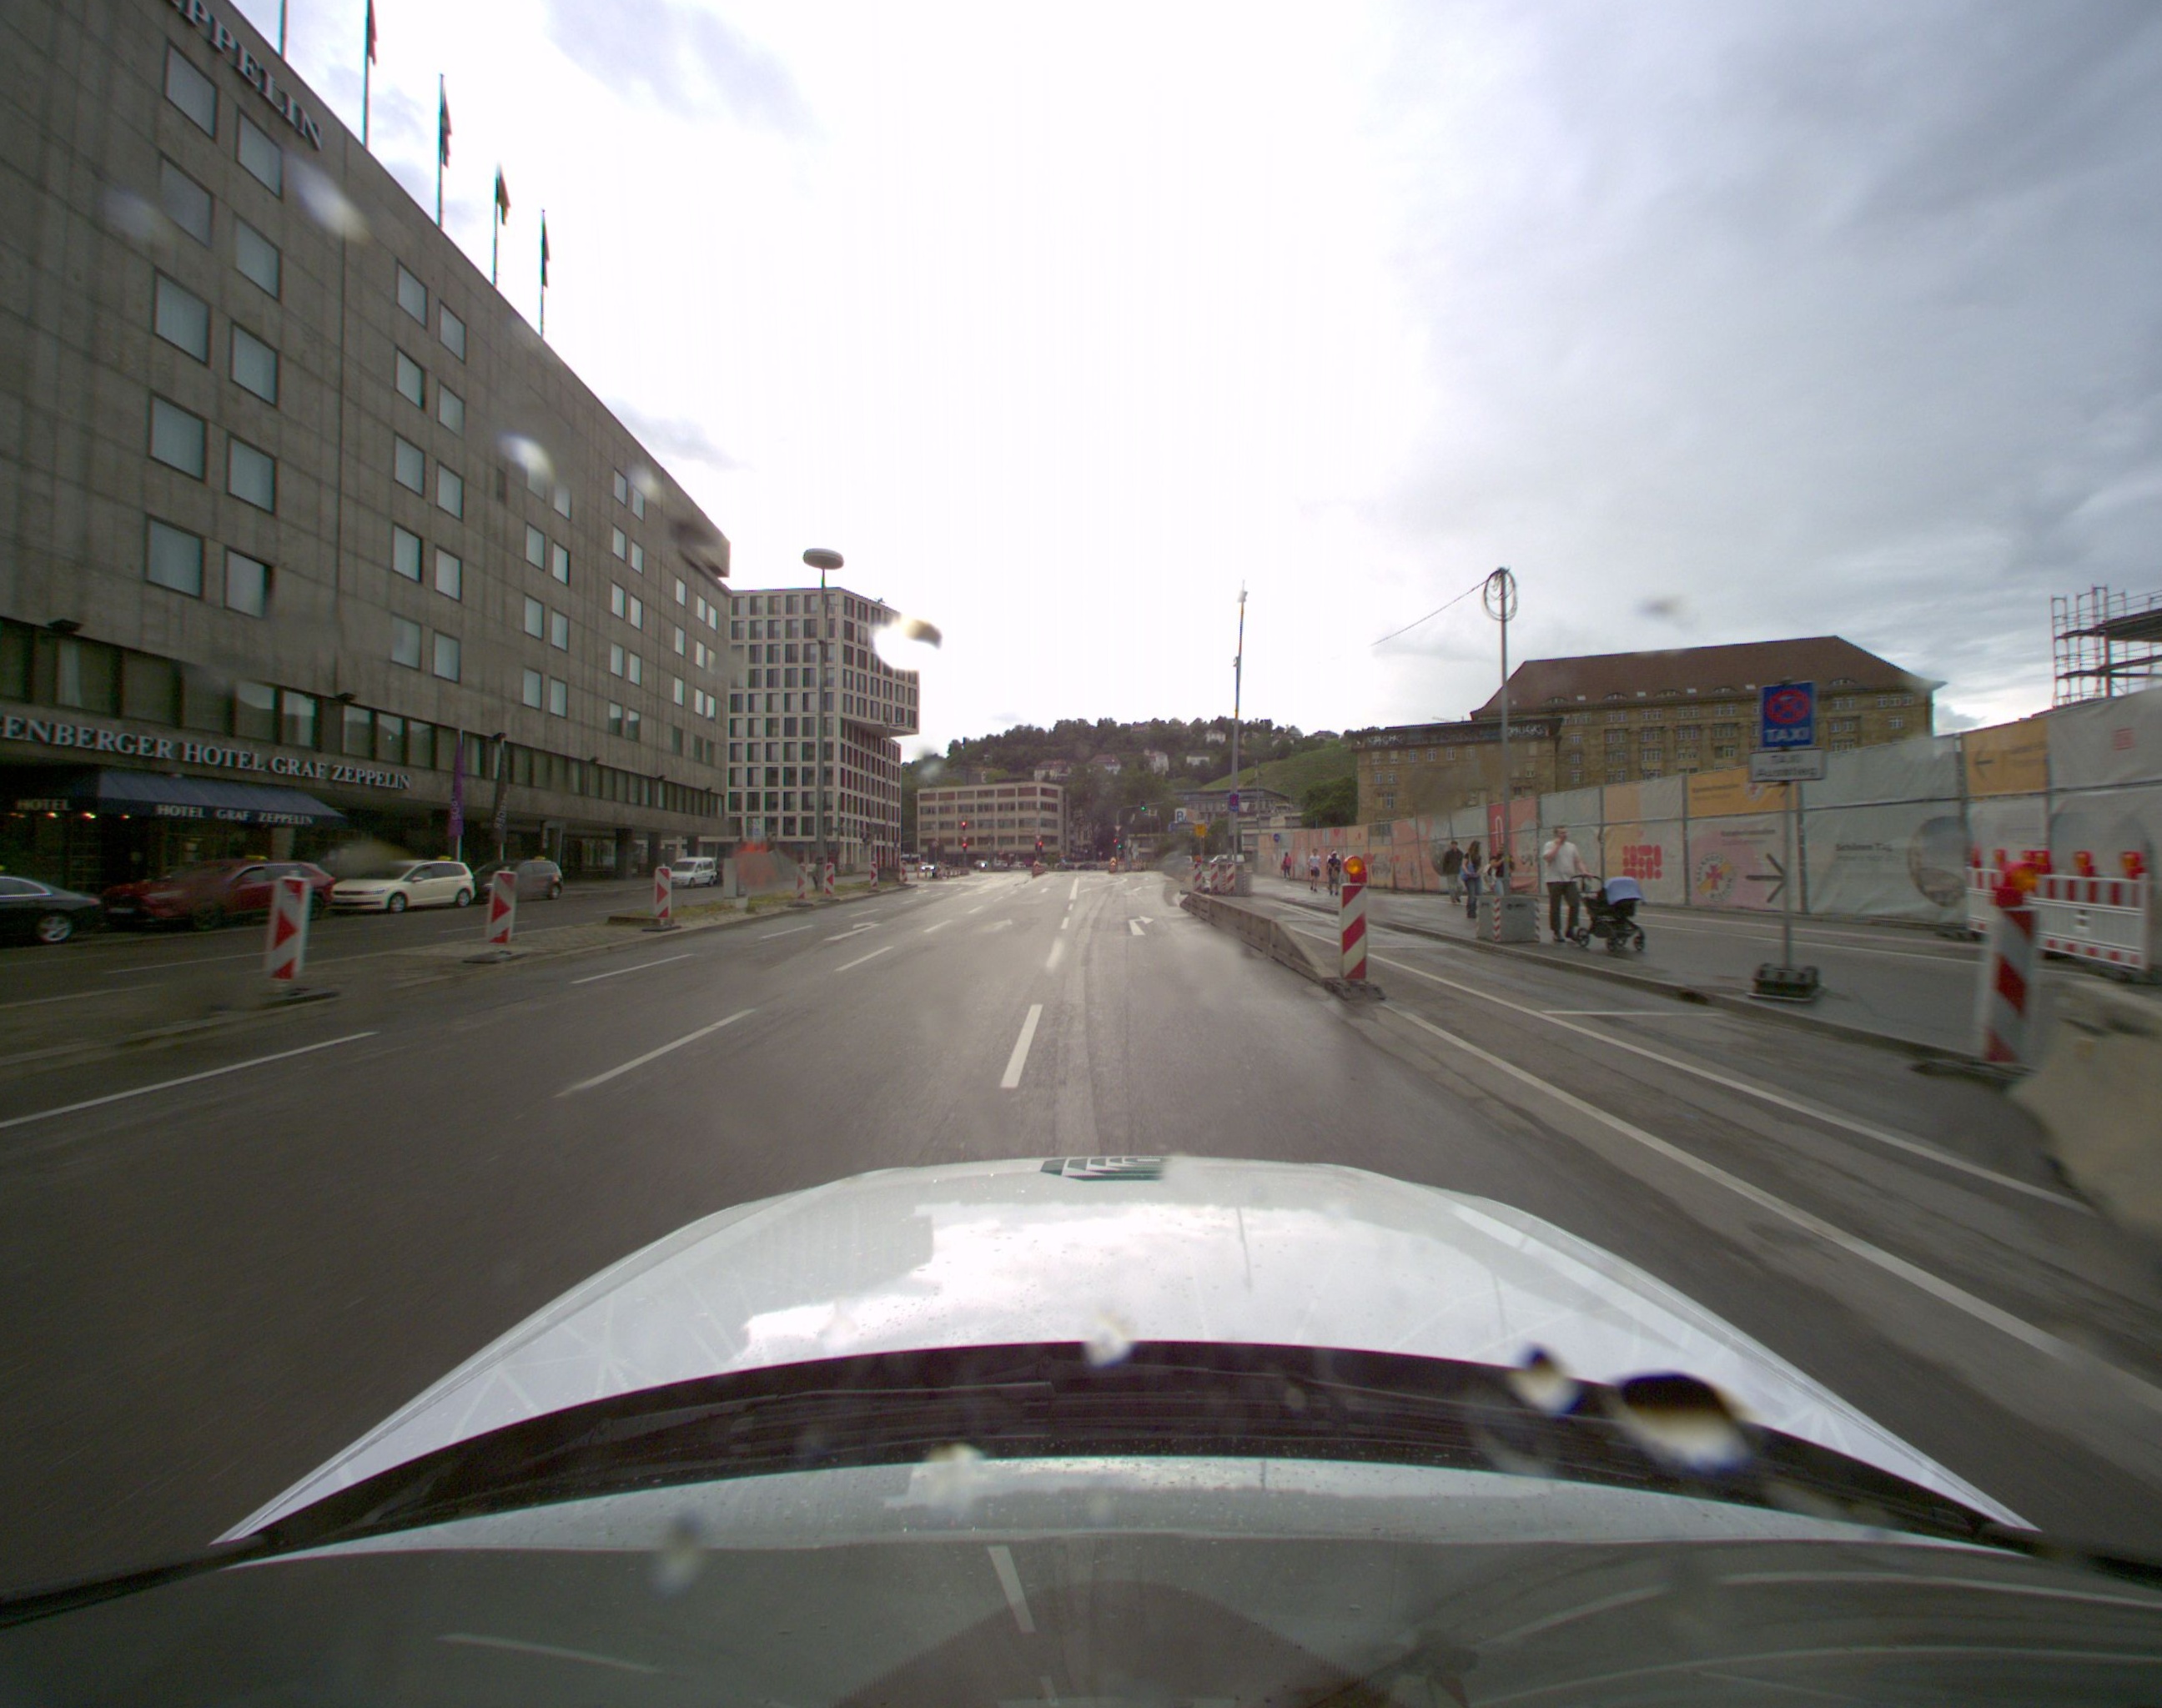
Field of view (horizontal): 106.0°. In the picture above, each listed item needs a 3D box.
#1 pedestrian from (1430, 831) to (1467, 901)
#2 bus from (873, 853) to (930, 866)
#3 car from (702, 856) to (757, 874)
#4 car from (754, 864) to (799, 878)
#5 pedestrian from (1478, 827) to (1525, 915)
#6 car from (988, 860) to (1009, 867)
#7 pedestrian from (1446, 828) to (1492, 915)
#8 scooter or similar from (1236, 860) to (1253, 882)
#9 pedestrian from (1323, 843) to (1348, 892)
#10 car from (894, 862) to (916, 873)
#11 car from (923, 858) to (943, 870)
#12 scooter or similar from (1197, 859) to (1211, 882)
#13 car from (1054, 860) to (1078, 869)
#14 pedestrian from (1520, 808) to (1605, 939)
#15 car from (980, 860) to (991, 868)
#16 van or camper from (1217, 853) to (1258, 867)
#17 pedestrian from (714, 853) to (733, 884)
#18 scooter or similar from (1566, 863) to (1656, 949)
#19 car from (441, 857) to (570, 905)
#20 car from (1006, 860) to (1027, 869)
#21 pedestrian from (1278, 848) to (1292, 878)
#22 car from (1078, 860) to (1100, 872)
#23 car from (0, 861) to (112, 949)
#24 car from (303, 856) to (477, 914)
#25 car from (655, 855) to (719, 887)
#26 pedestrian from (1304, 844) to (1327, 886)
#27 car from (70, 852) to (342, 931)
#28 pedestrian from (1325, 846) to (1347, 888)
[{"bbox_3d":[10.030,0.322,22.231,0.681,1.889,0.693,0,0,-1],"label":"pedestrian"},{"bbox_3d":[-39.255,1.285,177.871,13.796,2.750,3.232,-1,0,31],"label":"bus"},{"bbox_3d":[-38.323,1.169,88.850,5.041,1.904,2.092,-1,0,7],"label":"car"},{"bbox_3d":[-36.794,2.097,98.496,4.620,1.598,2.023,-1,0,9],"label":"car"},{"bbox_3d":[9.255,0.367,17.956,0.681,1.889,0.694,0,0,2],"label":"pedestrian"},{"bbox_3d":[-16.693,1.917,163.921,4.025,1.492,1.747,-1,0,35],"label":"car"},{"bbox_3d":[8.524,0.379,17.918,0.681,1.889,0.694,0,0,2],"label":"pedestrian"},{"bbox_3d":[9.055,0.912,45.087,0.467,1.183,1.411,0,0,-8],"label":"scooter or similar"},{"bbox_3d":[9.276,0.479,29.726,0.640,1.740,0.837,0,0,0],"label":"pedestrian"},{"bbox_3d":[-31.927,2.420,147.972,3.949,1.816,1.817,-1,0,40],"label":"car"},{"bbox_3d":[-22.831,1.492,125.745,2.215,1.753,4.811,-1,-1,0],"label":"car"},{"bbox_3d":[6.535,0.874,43.439,0.671,1.214,1.574,0,0,6],"label":"scooter or similar"},{"bbox_3d":[-2.743,1.915,144.427,4.025,1.492,1.747,-1,0,37],"label":"car"},{"bbox_3d":[7.699,0.308,13.072,0.799,2.016,0.972,0,0,3],"label":"pedestrian"},{"bbox_3d":[-17.226,1.800,147.110,1.829,1.486,3.989,-1,0,-8],"label":"car"},{"bbox_3d":[21.440,0.805,111.617,5.180,1.894,1.887,-1,0,-1],"label":"van or camper"},{"bbox_3d":[-22.020,0.889,50.132,0.685,1.886,0.800,-1,0,21],"label":"pedestrian"},{"bbox_3d":[7.796,0.735,12.019,0.662,1.198,1.045,0,0,2],"label":"scooter or similar"},{"bbox_3d":[-22.136,0.996,31.600,1.810,1.728,4.512,-1,-1,-1],"label":"car"},{"bbox_3d":[-12.305,2.015,155.089,1.809,1.691,3.953,0,0,-42],"label":"car"},{"bbox_3d":[12.746,0.544,50.871,0.717,1.866,0.709,0,0,-1],"label":"pedestrian"},{"bbox_3d":[1.217,1.959,132.824,2.004,2.013,3.965,0,0,-27],"label":"car"},{"bbox_3d":[-21.479,0.972,14.973,1.898,1.659,4.612,0,0,-2],"label":"car"},{"bbox_3d":[-21.930,0.922,26.132,1.812,1.698,4.573,0,-1,-3],"label":"car"},{"bbox_3d":[-22.855,0.978,47.407,1.770,1.762,4.367,0,0,-3],"label":"car"},{"bbox_3d":[9.922,0.473,34.524,0.681,1.740,0.907,0,0,-1],"label":"pedestrian"},{"bbox_3d":[-21.838,0.871,20.688,1.896,1.768,4.645,-1,-1,-1],"label":"car"},{"bbox_3d":[11.436,0.589,36.544,0.701,1.866,0.990,0,0,2],"label":"pedestrian"}]
